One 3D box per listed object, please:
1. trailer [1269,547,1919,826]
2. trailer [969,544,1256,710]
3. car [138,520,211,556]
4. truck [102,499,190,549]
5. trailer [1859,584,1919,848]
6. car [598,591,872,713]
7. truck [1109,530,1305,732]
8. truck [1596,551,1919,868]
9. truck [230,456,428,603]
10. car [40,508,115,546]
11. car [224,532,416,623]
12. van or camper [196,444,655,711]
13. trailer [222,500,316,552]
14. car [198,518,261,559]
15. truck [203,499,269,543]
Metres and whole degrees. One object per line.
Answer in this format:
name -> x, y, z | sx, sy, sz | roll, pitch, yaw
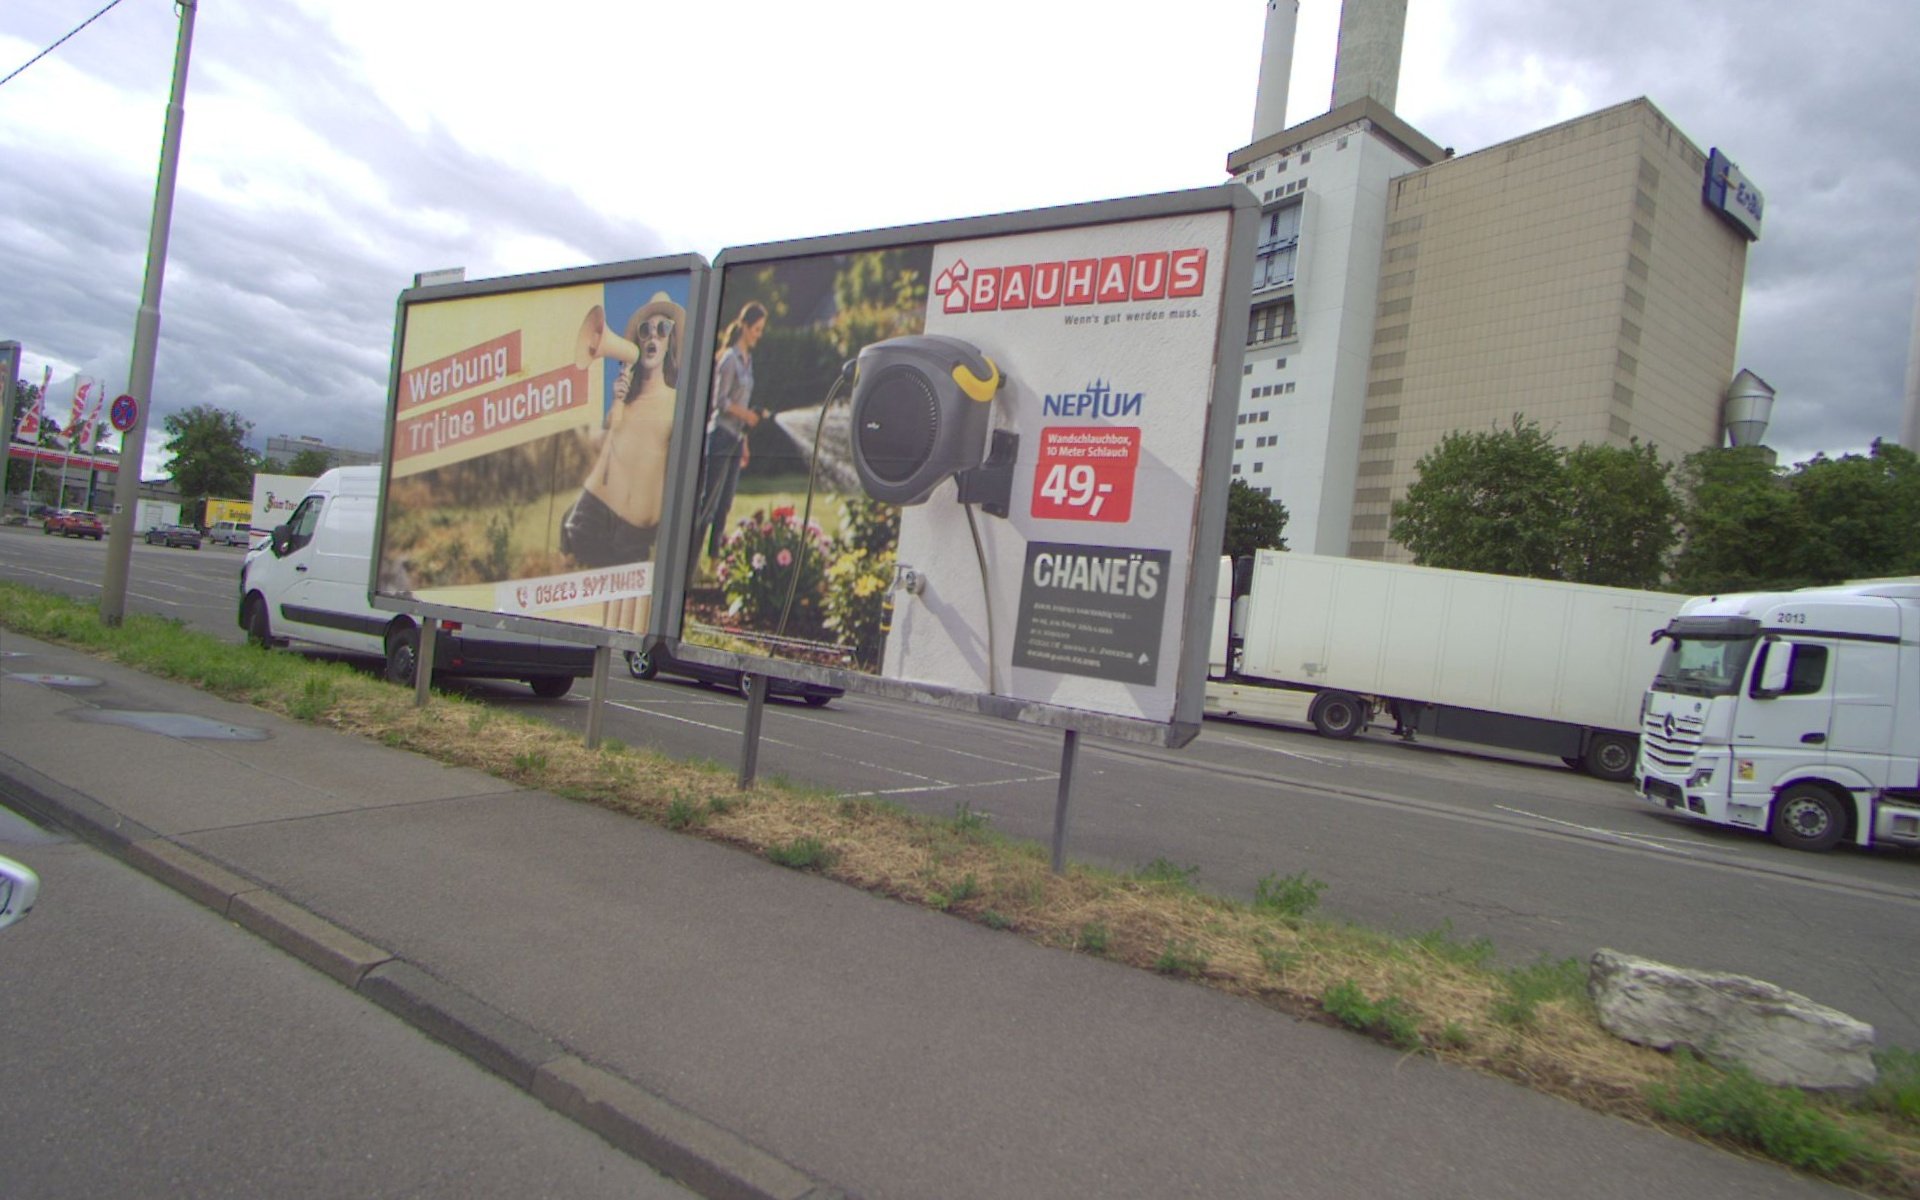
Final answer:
trailer -> 13.986, 1.701, 22.212 | 13.235, 4.230, 2.707 | 7, 0, 19
trailer -> 5.114, 0.866, 33.777 | 8.770, 4.241, 2.770 | 7, 0, 15
car -> -48.200, -3.782, 61.715 | 4.117, 1.726, 1.997 | 6, -1, 30
truck -> -66.477, -6.239, 82.115 | 7.386, 3.183, 3.179 | 7, -1, 33
trailer -> 20.862, 2.501, 13.614 | 12.852, 4.027, 3.064 | 7, 1, 11
car -> -3.870, 0.855, 17.116 | 4.356, 1.461, 1.894 | 6, -4, 32
truck -> 6.186, 0.758, 24.966 | 4.001, 4.263, 2.709 | 7, 0, 20
truck -> 14.642, 1.782, 14.903 | 7.883, 4.053, 3.073 | 6, 1, 12
truck -> -25.783, -2.931, 40.977 | 8.377, 5.155, 3.310 | 6, -1, 34
car -> -50.667, -4.207, 57.756 | 3.932, 1.726, 1.997 | 6, -1, 30
car -> -15.111, -0.543, 23.721 | 4.354, 1.631, 1.893 | 6, -2, 30
van or camper -> -6.868, -0.368, 12.631 | 6.015, 2.679, 2.258 | 6, -1, 33
trailer -> -63.904, -6.893, 92.982 | 9.969, 3.671, 3.037 | 7, -1, 31
car -> -58.106, -4.900, 79.986 | 5.283, 2.679, 2.093 | 6, -1, 33
truck -> -69.386, -7.581, 96.379 | 5.414, 3.504, 3.037 | 7, -1, 32
